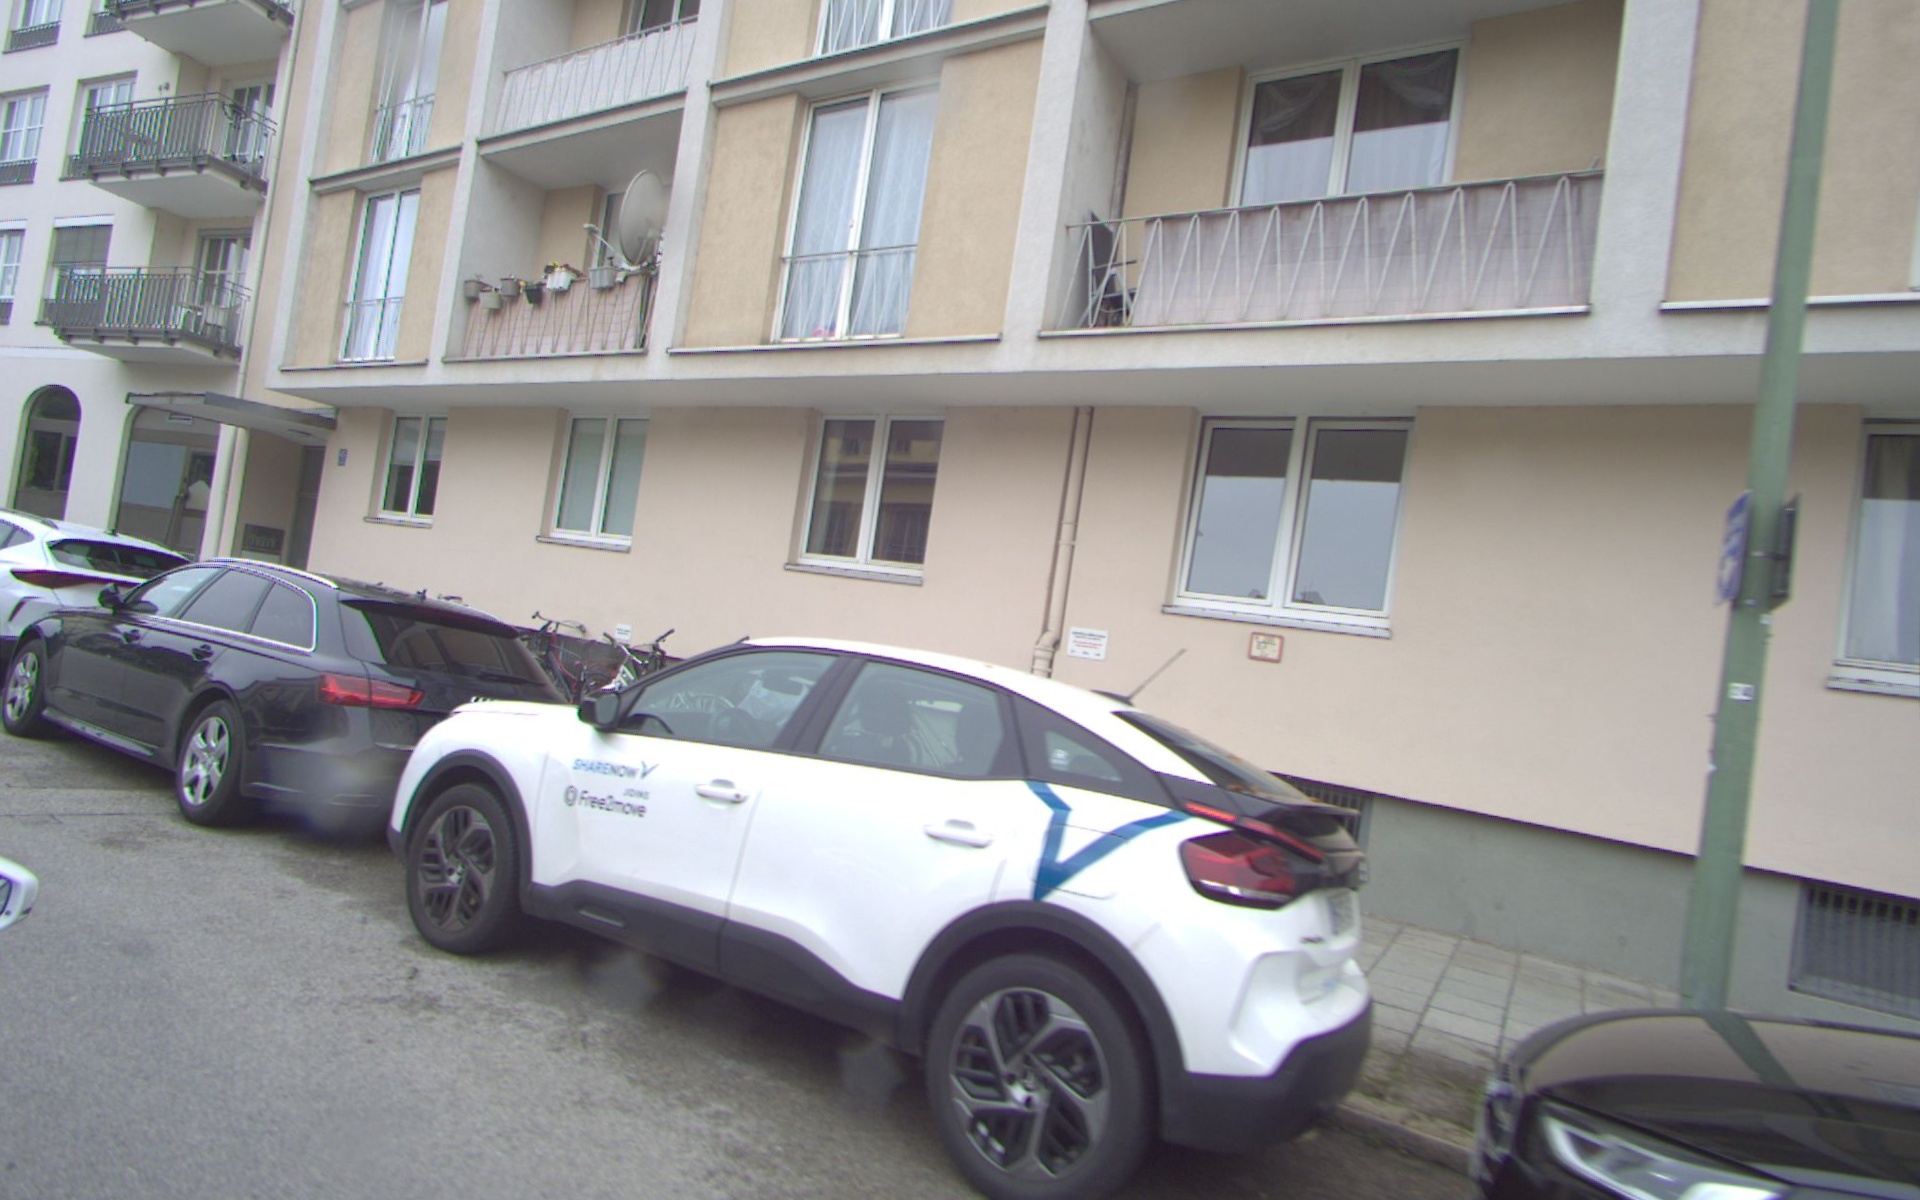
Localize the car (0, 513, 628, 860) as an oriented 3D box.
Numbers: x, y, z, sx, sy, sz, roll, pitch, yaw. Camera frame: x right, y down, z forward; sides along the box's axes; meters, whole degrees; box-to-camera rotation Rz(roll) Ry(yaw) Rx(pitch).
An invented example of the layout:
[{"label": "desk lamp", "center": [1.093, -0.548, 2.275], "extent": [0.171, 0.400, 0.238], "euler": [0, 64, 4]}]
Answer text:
[{"label": "car", "center": [-4.619, 0.469, 6.824], "extent": [4.616, 1.442, 1.780], "euler": [7, -7, 32]}]

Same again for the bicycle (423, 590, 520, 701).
[{"label": "bicycle", "center": [-6.081, 0.550, 12.504], "extent": [1.373, 1.217, 0.446], "euler": [6, 2, 38]}]

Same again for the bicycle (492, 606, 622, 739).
[{"label": "bicycle", "center": [-4.269, 0.743, 10.637], "extent": [1.347, 1.217, 0.447], "euler": [6, 2, 29]}]

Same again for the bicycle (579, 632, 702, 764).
[{"label": "bicycle", "center": [-3.217, 0.956, 10.234], "extent": [0.386, 1.217, 1.341], "euler": [6, 1, 18]}]

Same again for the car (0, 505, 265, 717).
[{"label": "car", "center": [-9.046, -0.063, 9.714], "extent": [4.227, 1.537, 1.785], "euler": [8, -6, 26]}]

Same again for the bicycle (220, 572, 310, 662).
[{"label": "bicycle", "center": [-9.813, 0.233, 14.198], "extent": [1.323, 1.115, 0.392], "euler": [6, 2, 26]}]

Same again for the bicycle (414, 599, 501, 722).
[{"label": "bicycle", "center": [-5.766, 0.667, 11.509], "extent": [0.395, 1.217, 1.548], "euler": [4, 2, -43]}]

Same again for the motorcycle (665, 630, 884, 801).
[{"label": "motorcycle", "center": [-1.805, 1.057, 9.628], "extent": [2.007, 1.286, 0.636], "euler": [7, 0, 31]}]

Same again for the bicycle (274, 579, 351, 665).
[{"label": "bicycle", "center": [-9.530, 0.314, 14.793], "extent": [1.325, 1.115, 0.369], "euler": [6, 2, 32]}]

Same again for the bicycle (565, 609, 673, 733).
[{"label": "bicycle", "center": [-3.850, 0.776, 11.314], "extent": [1.321, 1.217, 0.392], "euler": [6, 2, 37]}]

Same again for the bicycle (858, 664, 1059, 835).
[{"label": "bicycle", "center": [-0.030, 1.250, 8.709], "extent": [1.574, 1.171, 0.514], "euler": [7, 0, 31]}]

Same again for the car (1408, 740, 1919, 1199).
[{"label": "car", "center": [3.231, 1.345, 1.588], "extent": [4.417, 1.395, 1.833], "euler": [7, -4, 32]}]

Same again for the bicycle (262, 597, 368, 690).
[{"label": "bicycle", "center": [-8.763, 0.578, 13.662], "extent": [1.277, 1.115, 0.395], "euler": [6, 1, 15]}]

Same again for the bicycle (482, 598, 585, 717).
[{"label": "bicycle", "center": [-4.929, 0.646, 11.605], "extent": [1.265, 1.217, 0.417], "euler": [6, 2, 36]}]

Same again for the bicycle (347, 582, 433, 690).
[{"label": "bicycle", "center": [-7.164, 0.437, 12.624], "extent": [1.264, 1.217, 0.412], "euler": [6, 2, 38]}]

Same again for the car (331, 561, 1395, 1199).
[{"label": "car", "center": [-0.522, 0.913, 4.242], "extent": [4.050, 1.482, 1.710], "euler": [7, -6, 30]}]

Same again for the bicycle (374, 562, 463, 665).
[{"label": "bicycle", "center": [-7.192, 0.169, 13.331], "extent": [1.373, 1.217, 0.446], "euler": [6, 2, 38]}]
